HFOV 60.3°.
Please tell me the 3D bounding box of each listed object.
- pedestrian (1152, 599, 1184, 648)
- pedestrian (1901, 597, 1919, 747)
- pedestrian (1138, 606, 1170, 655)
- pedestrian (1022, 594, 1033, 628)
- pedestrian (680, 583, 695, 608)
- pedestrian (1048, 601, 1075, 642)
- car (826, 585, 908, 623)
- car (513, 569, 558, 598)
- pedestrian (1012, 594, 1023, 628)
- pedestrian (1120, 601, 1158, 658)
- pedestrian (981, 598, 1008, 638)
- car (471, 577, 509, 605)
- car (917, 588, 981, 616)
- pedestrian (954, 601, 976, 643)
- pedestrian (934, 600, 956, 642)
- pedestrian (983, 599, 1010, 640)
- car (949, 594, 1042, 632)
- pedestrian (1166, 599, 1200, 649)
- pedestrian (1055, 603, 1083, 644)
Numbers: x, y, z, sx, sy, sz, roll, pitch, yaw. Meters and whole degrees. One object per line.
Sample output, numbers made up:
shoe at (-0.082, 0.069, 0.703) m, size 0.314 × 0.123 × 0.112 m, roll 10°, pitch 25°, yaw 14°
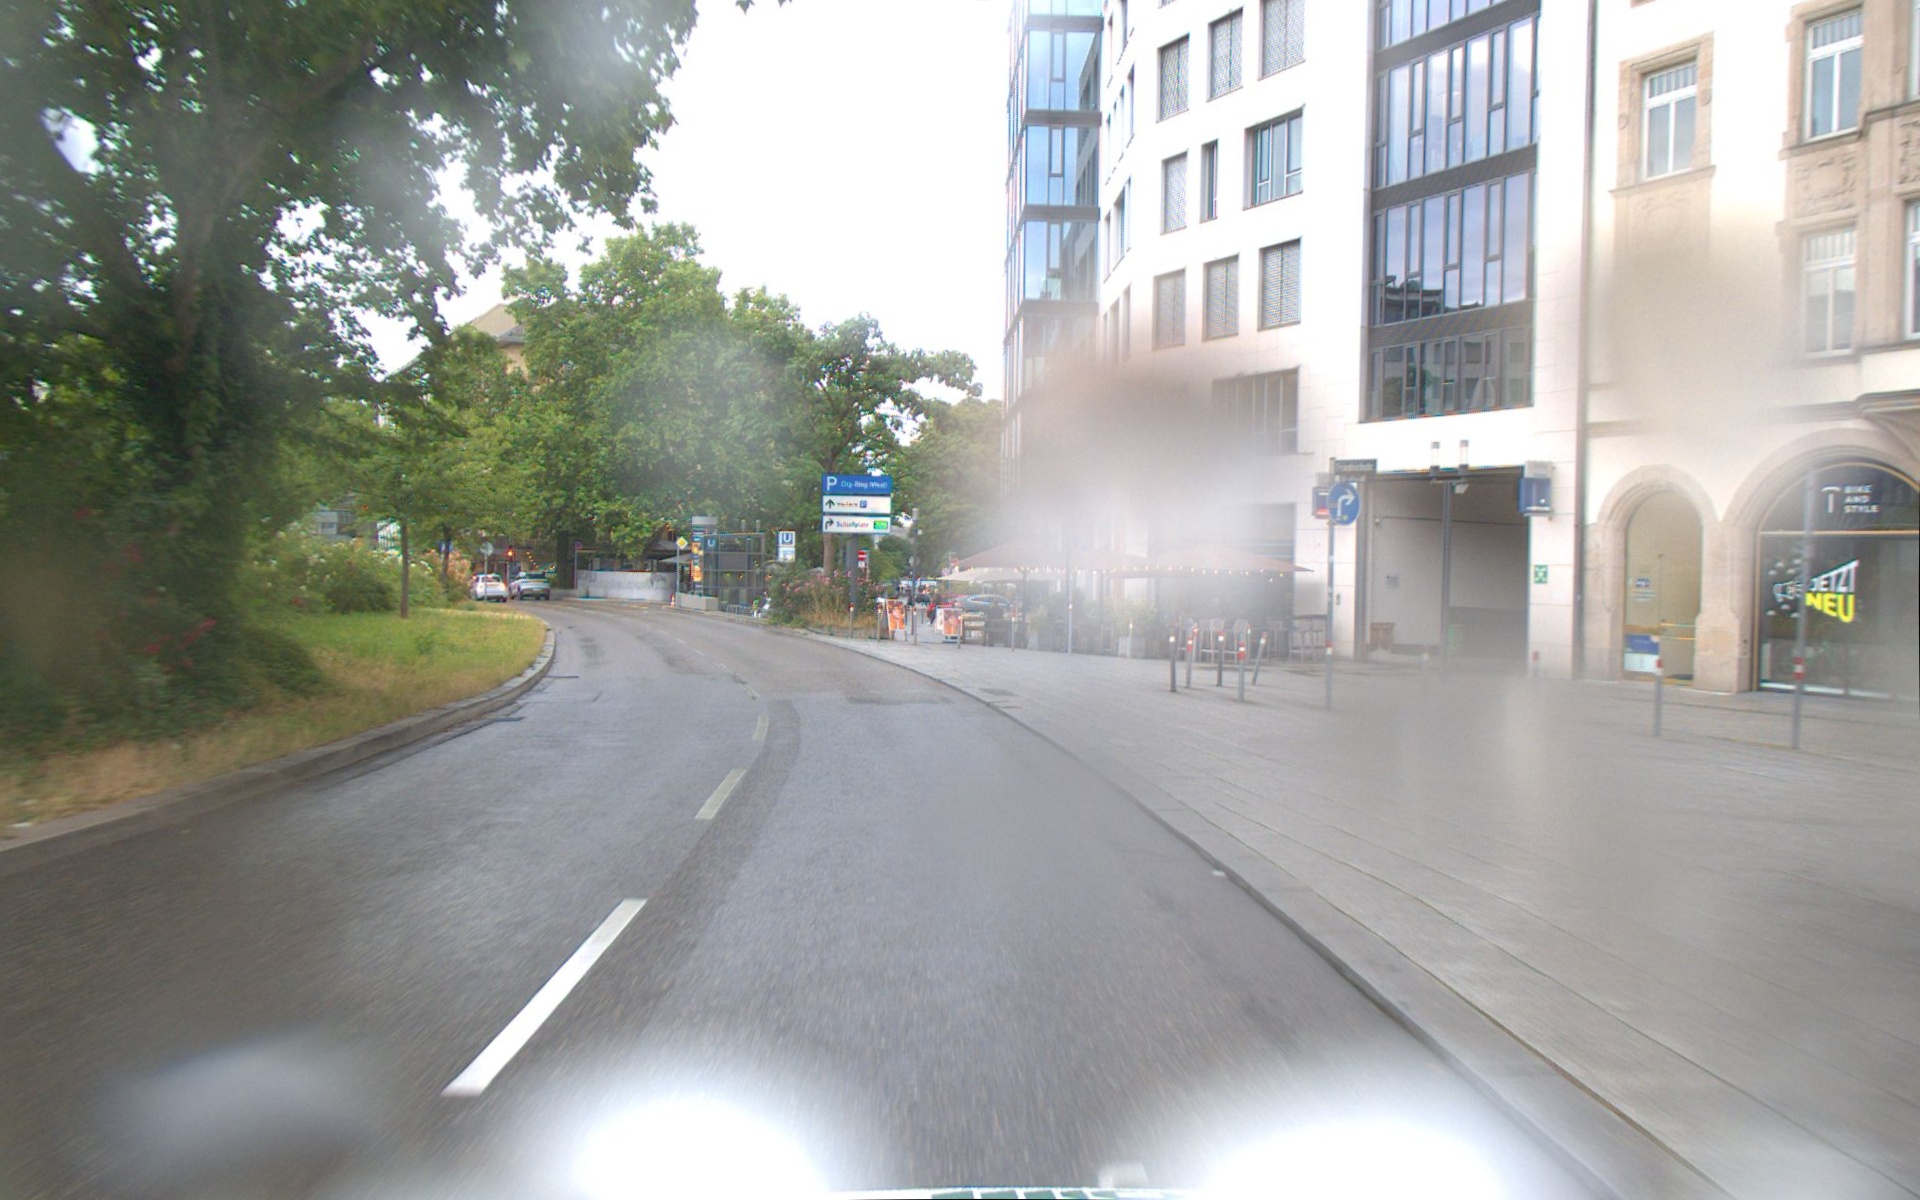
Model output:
pedestrian at (5.811, 0.655, 46.224) m, size 0.619 × 1.349 × 0.631 m, roll 3°, pitch 0°, yaw -26°
pedestrian at (12.507, 0.920, 20.438) m, size 0.857 × 1.870 × 1.244 m, roll 3°, pitch -1°, yaw -15°
pedestrian at (5.545, 0.855, 47.194) m, size 0.619 × 1.349 × 0.631 m, roll 3°, pitch 0°, yaw -26°
pedestrian at (2.846, 0.457, 70.131) m, size 0.426 × 1.428 × 0.478 m, roll 0°, pitch 0°, yaw -3°
pedestrian at (-16.150, -0.283, 98.113) m, size 0.674 × 1.435 × 0.900 m, roll 3°, pitch -1°, yaw -20°
pedestrian at (3.506, 0.737, 57.058) m, size 0.801 × 1.349 × 0.635 m, roll 3°, pitch 0°, yaw -5°
car at (-4.785, 0.206, 84.982) m, size 4.018 × 1.649 × 1.860 m, roll 4°, pitch -1°, yaw -6°
car at (-25.608, -1.002, 99.671) m, size 1.921 × 1.695 × 4.312 m, roll 1°, pitch 0°, yaw -24°
pedestrian at (2.417, 0.458, 69.720) m, size 0.426 × 1.428 × 0.478 m, roll 0°, pitch 0°, yaw -3°
pedestrian at (4.416, 0.722, 40.896) m, size 0.759 × 1.349 × 0.635 m, roll 3°, pitch 0°, yaw -6°
pedestrian at (1.173, 0.613, 56.855) m, size 0.801 × 1.349 × 0.635 m, roll 3°, pitch 0°, yaw -5°
car at (-26.284, -0.516, 92.427) m, size 1.570 × 1.517 × 3.478 m, roll -2°, pitch 1°, yaw -24°
car at (-0.651, 0.104, 92.780) m, size 1.602 × 1.440 × 3.471 m, roll 2°, pitch 0°, yaw -45°
pedestrian at (0.160, 0.721, 54.174) m, size 0.594 × 1.349 × 0.567 m, roll 3°, pitch 0°, yaw -5°
pedestrian at (-0.495, 0.679, 54.084) m, size 0.594 × 1.349 × 0.567 m, roll 3°, pitch 0°, yaw -5°
pedestrian at (1.231, 0.652, 56.142) m, size 0.801 × 1.349 × 0.635 m, roll 3°, pitch 0°, yaw -5°
car at (1.801, 0.661, 85.084) m, size 4.639 × 1.720 × 2.004 m, roll 2°, pitch 1°, yaw -2°
pedestrian at (6.128, 0.657, 45.422) m, size 0.619 × 1.349 × 0.631 m, roll 3°, pitch 0°, yaw -26°
pedestrian at (3.707, 0.782, 56.171) m, size 0.801 × 1.349 × 0.635 m, roll 3°, pitch 0°, yaw -5°
